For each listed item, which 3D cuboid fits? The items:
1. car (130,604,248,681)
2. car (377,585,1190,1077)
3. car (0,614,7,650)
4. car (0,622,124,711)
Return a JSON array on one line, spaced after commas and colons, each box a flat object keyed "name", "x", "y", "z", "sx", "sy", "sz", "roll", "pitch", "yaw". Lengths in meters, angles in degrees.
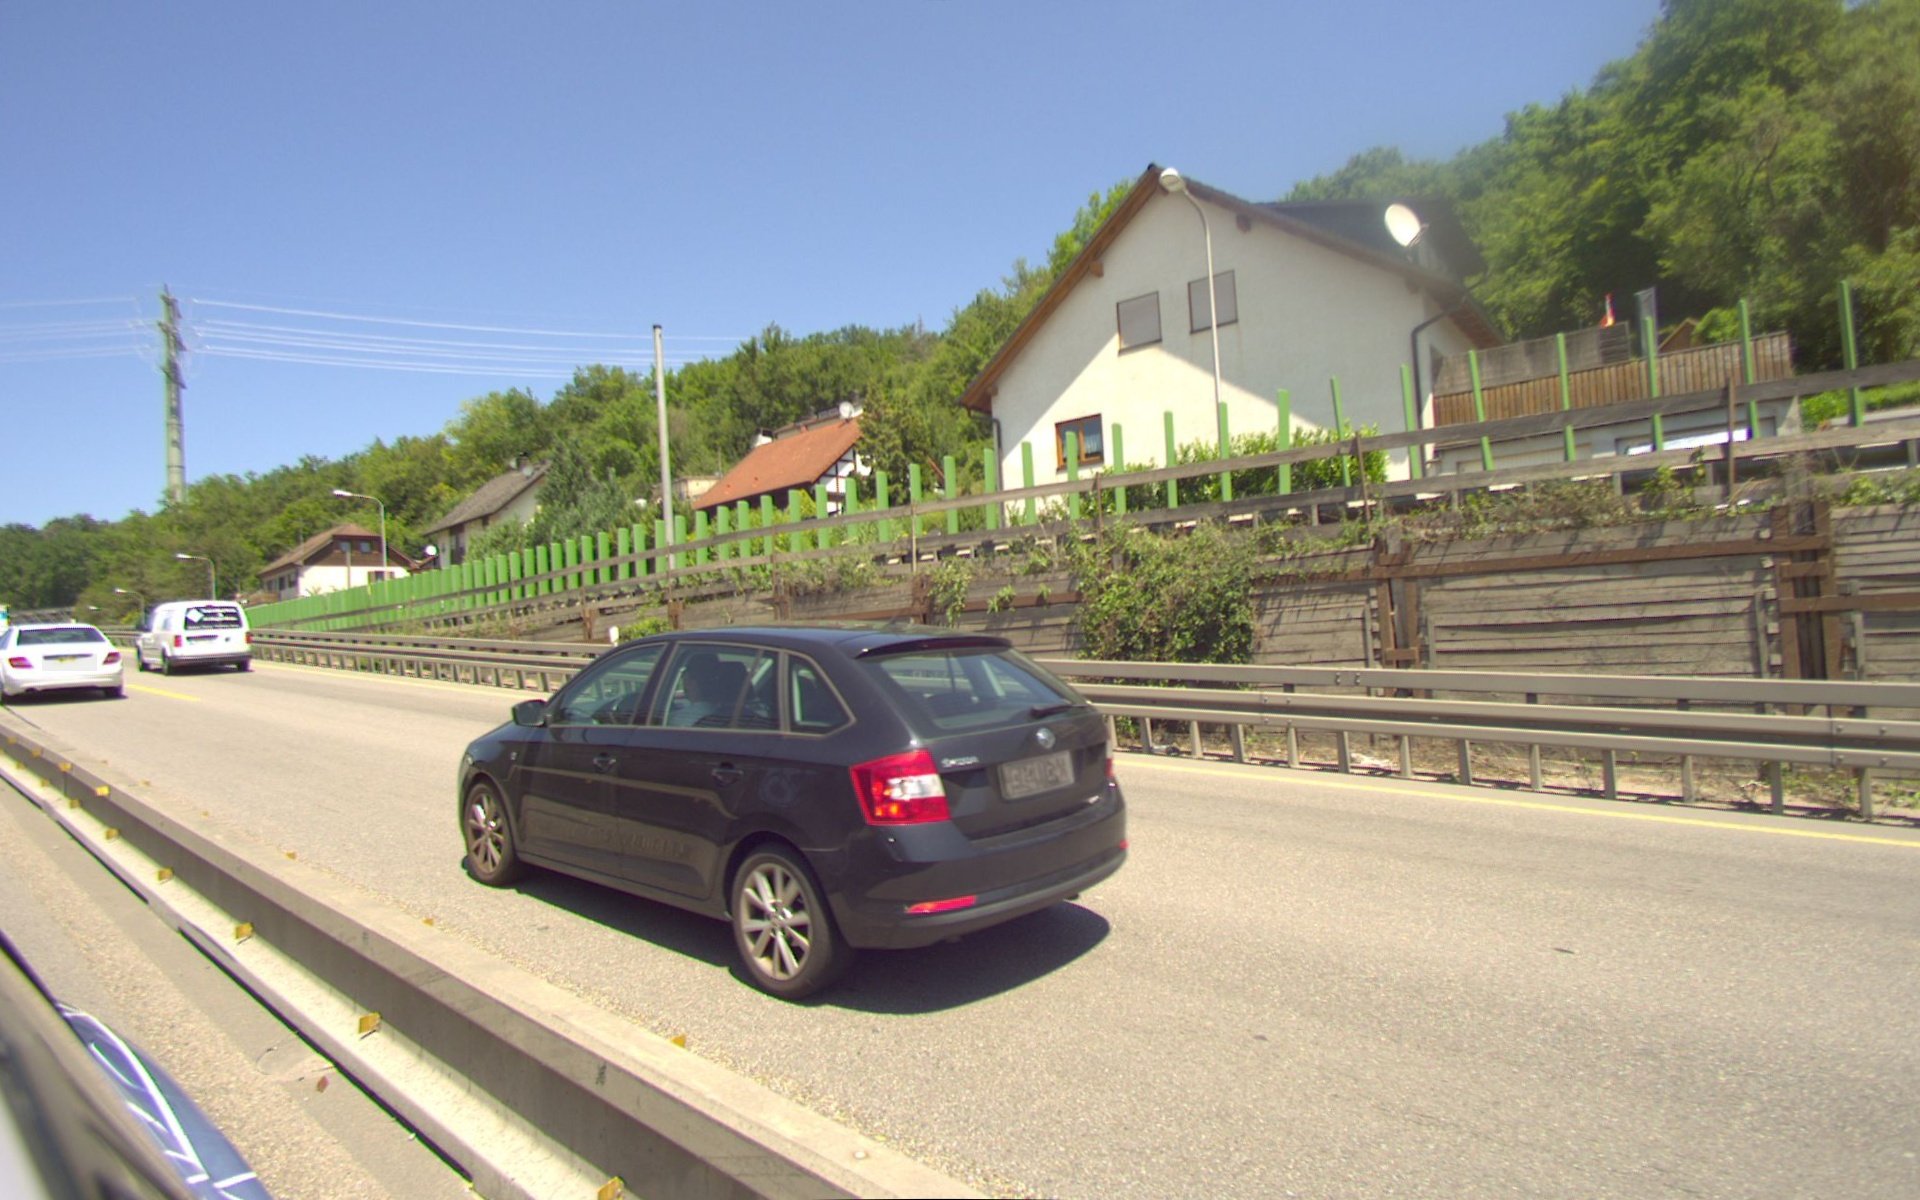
[{"name": "car", "x": -20.227, "y": 1.041, "z": 26.471, "sx": 4.751, "sy": 1.847, "sz": 1.579, "roll": -1, "pitch": -1, "yaw": 42}, {"name": "car", "x": -1.300, "y": 0.736, "z": 5.286, "sx": 4.669, "sy": 1.457, "sz": 1.589, "roll": -1, "pitch": 3, "yaw": 42}, {"name": "car", "x": -54.810, "y": 1.811, "z": 56.281, "sx": 5.235, "sy": 1.940, "sz": 1.808, "roll": -2, "pitch": 0, "yaw": 38}, {"name": "car", "x": -17.519, "y": 1.183, "z": 19.304, "sx": 4.256, "sy": 1.448, "sz": 1.715, "roll": -1, "pitch": 1, "yaw": 41}]
